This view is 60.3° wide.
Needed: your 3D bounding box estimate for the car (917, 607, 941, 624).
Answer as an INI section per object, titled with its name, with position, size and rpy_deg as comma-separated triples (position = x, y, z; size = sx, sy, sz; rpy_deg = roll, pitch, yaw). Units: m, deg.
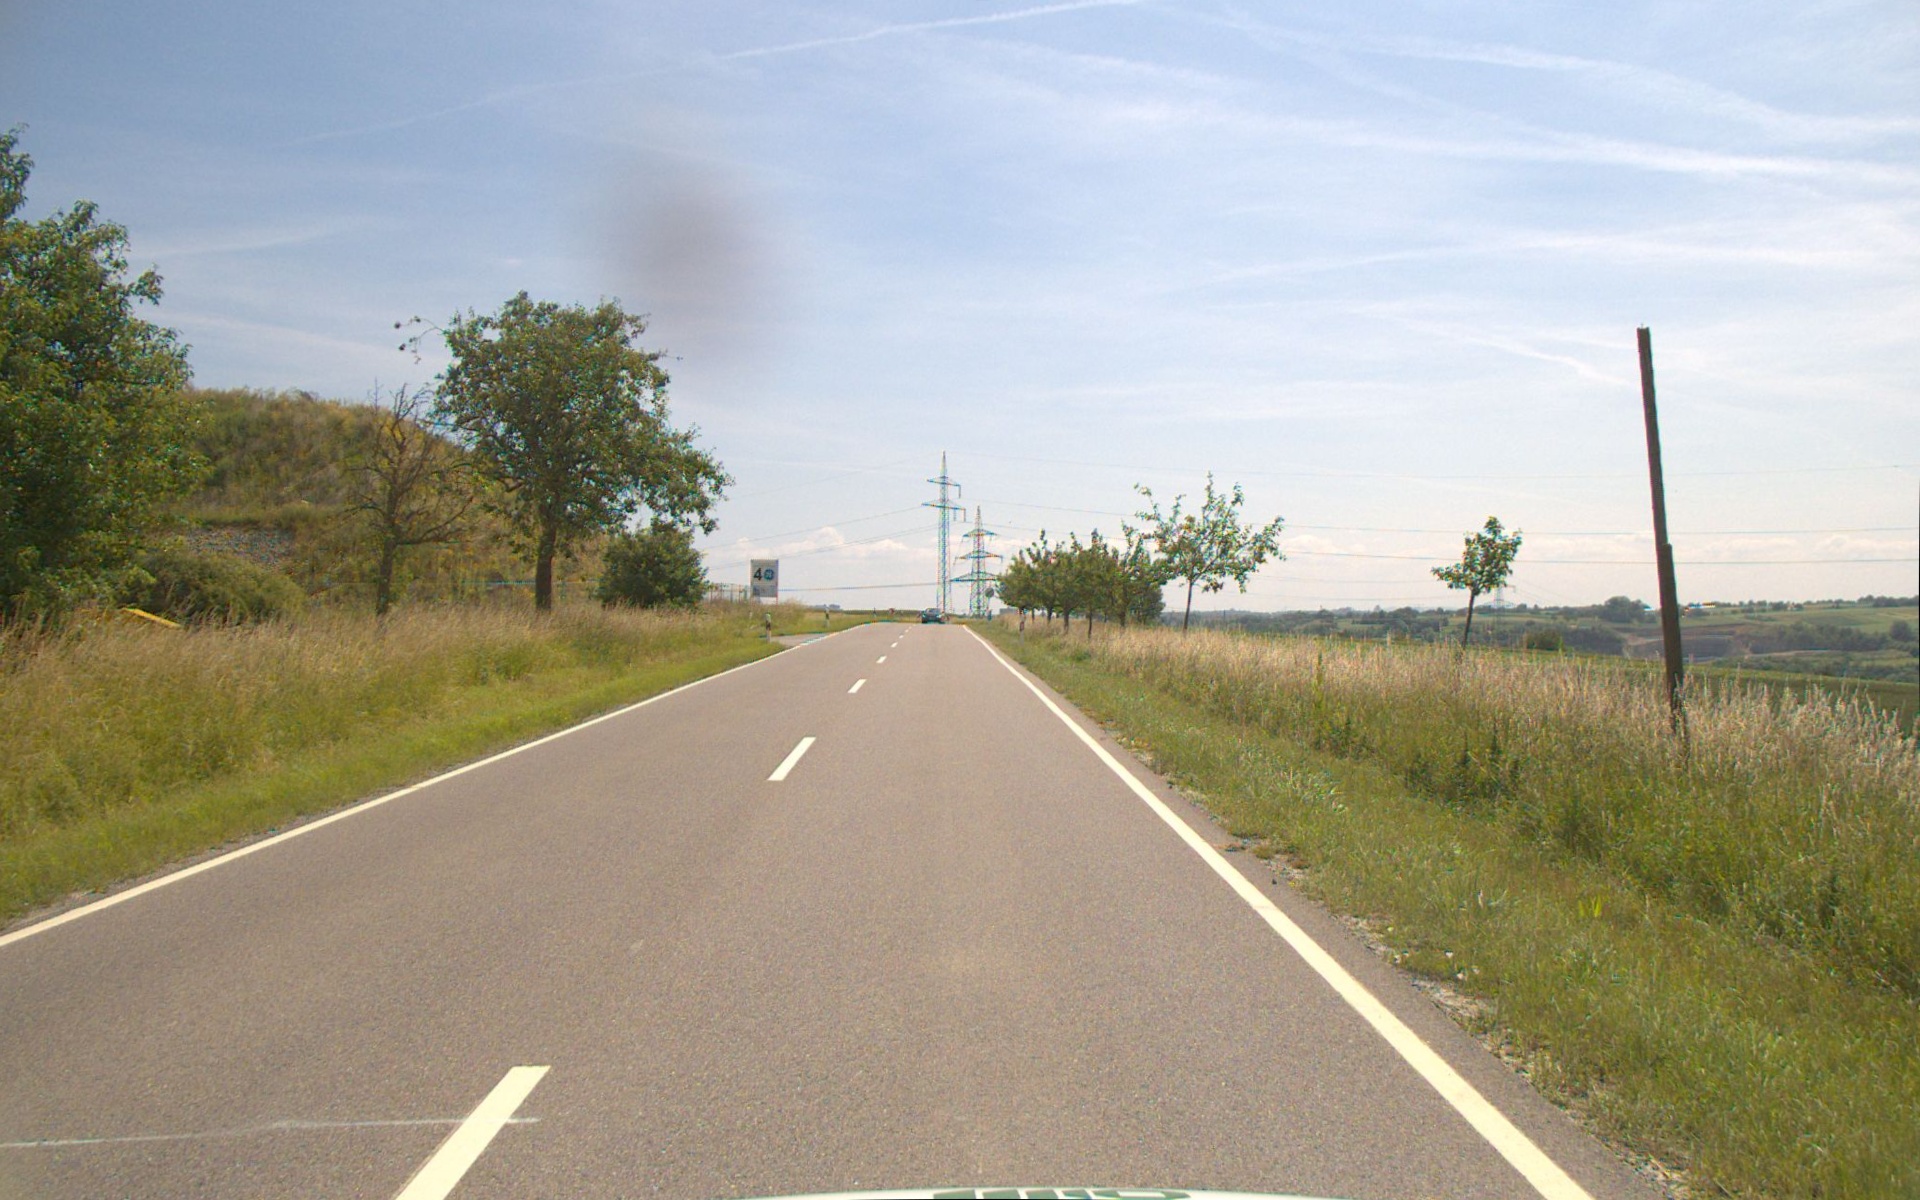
[car]
position = -2.752, 1.368, 147.955
size = 1.784, 1.435, 4.002
rpy_deg = 1, 0, 4
